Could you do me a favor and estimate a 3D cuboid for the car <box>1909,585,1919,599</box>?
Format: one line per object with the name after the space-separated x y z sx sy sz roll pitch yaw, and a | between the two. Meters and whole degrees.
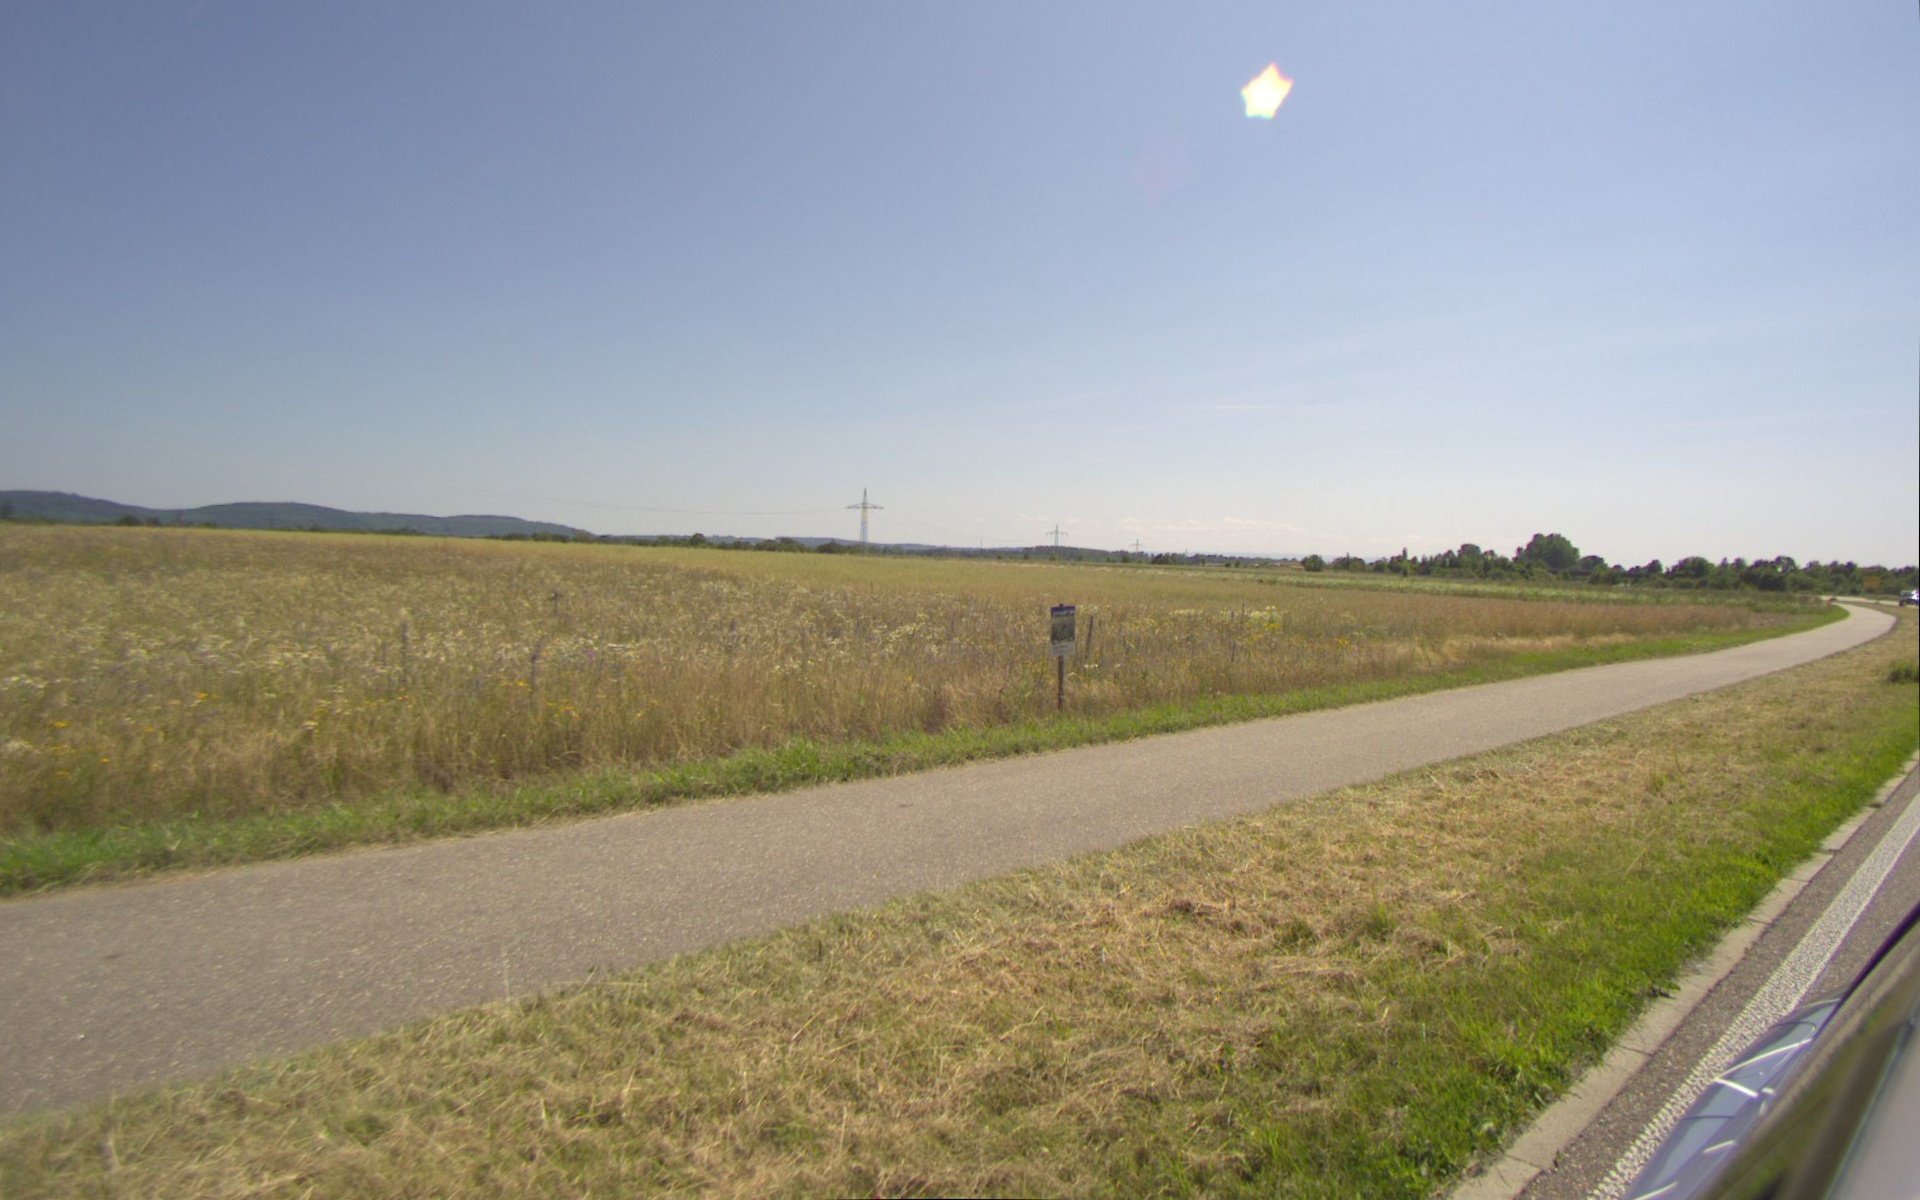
111.315 -0.910 117.185 1.977 1.616 5.320 2 2 42 | car
